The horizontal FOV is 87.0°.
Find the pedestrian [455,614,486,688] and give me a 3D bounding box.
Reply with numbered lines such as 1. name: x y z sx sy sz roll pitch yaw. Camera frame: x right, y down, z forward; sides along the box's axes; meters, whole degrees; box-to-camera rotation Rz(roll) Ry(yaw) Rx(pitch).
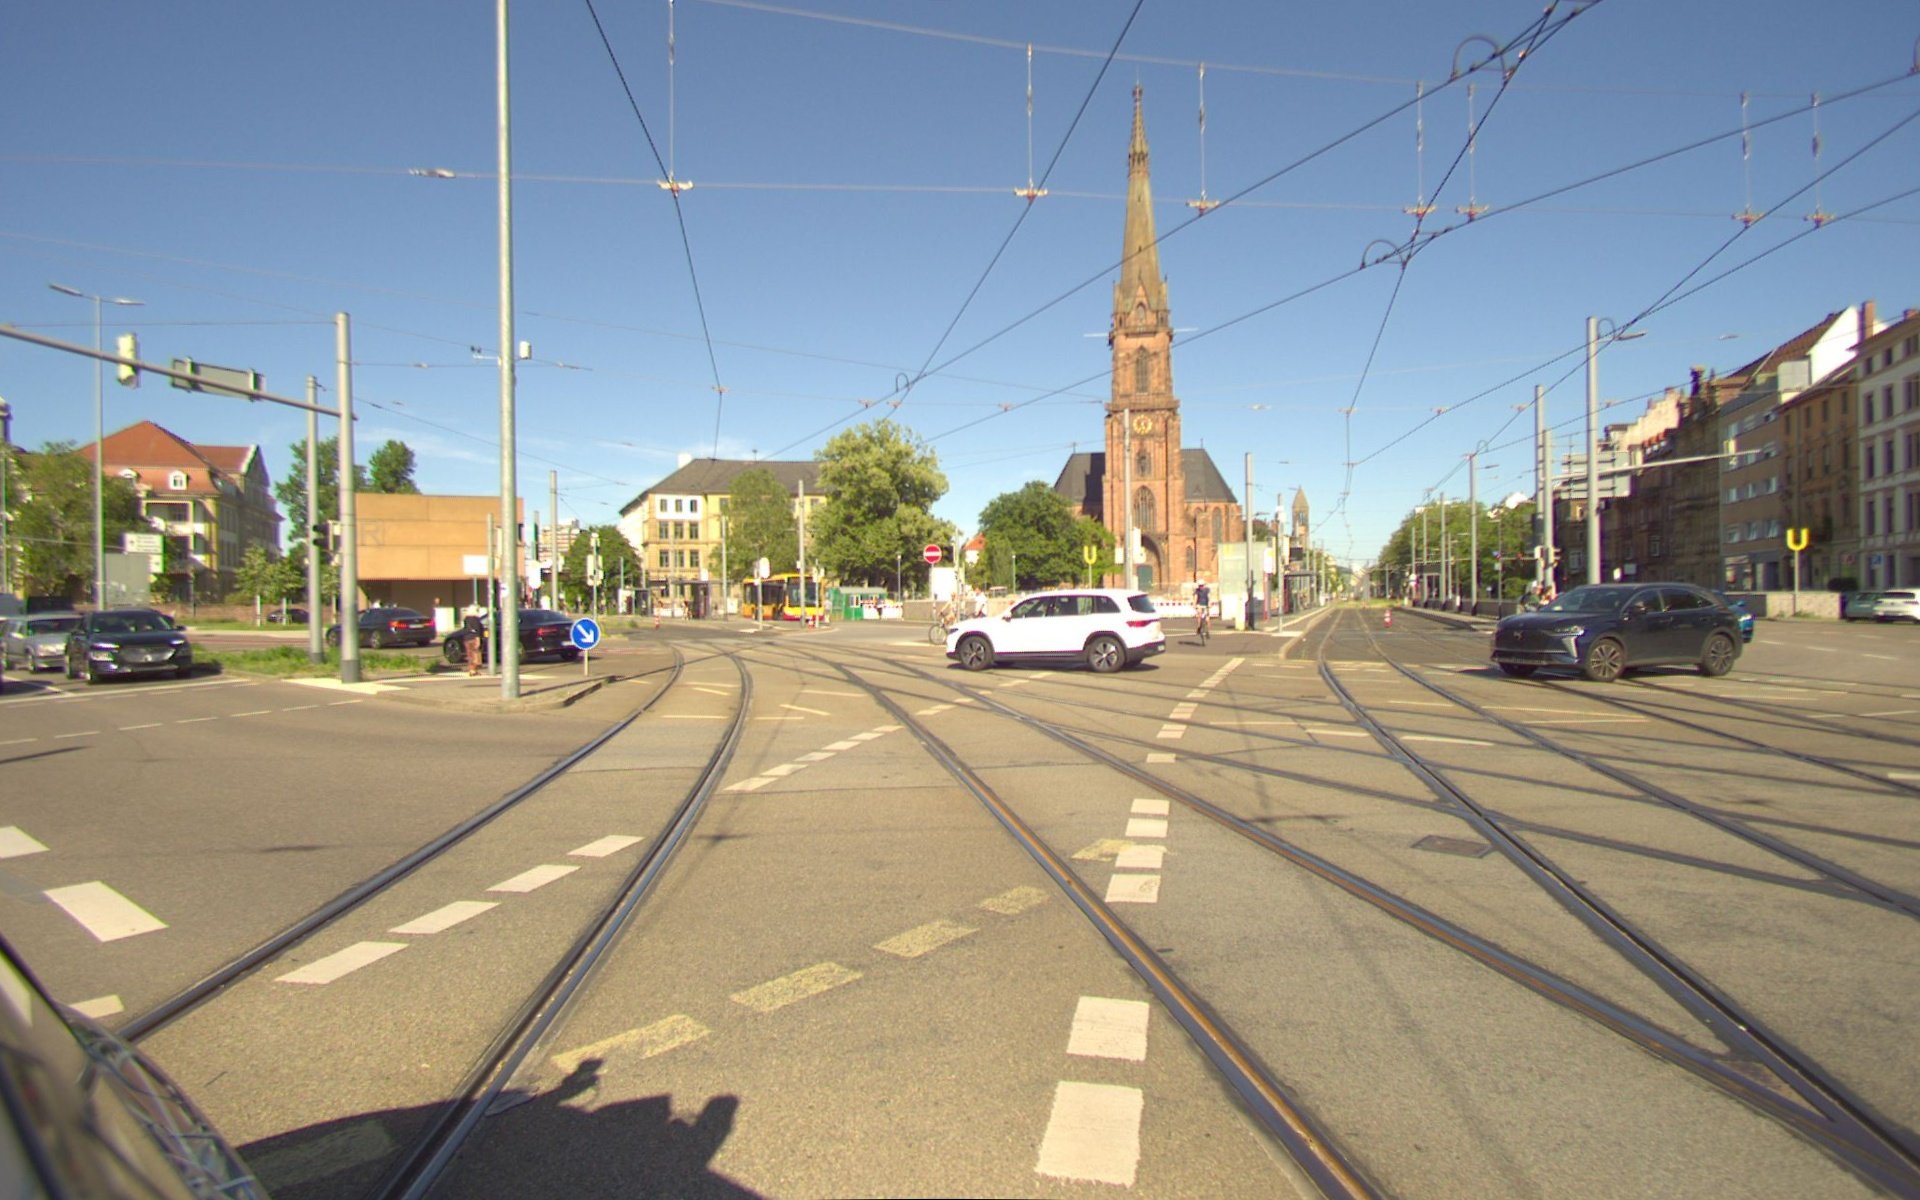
1. pedestrian: -10.686 1.102 22.090 0.367 1.567 0.645 -3 1 -43

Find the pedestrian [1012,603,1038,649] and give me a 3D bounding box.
1. pedestrian: 2.402 0.949 37.311 0.607 1.619 0.705 -1 1 40

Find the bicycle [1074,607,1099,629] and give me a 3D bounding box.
1. bicycle: 7.640 1.095 61.139 1.476 1.279 0.366 -2 1 -20

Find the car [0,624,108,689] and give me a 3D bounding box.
1. car: -24.067 1.410 26.375 4.653 1.469 1.803 -1 1 37

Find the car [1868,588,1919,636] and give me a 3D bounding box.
1. car: 39.231 0.447 40.925 3.932 1.765 2.006 -2 1 -18

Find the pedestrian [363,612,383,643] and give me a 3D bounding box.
1. pedestrian: -32.859 1.534 56.634 0.738 1.725 0.703 -2 1 -10

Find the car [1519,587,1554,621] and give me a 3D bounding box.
1. car: 56.466 0.367 99.172 1.984 3.130 4.893 -2 1 18

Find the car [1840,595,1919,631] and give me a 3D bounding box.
1. car: 40.913 0.539 44.309 3.932 1.370 1.823 -2 1 -18

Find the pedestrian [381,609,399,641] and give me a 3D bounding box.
1. pedestrian: -31.754 1.373 56.397 0.634 1.725 0.703 -2 1 -10

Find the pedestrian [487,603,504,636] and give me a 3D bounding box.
1. pedestrian: -30.092 1.266 65.615 0.844 2.091 0.612 -2 1 -16

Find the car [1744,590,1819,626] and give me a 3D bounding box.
1. car: 42.519 0.390 52.480 1.987 1.678 3.969 -2 1 23

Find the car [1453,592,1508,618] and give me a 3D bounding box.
1. car: 29.573 0.272 57.574 1.896 1.371 3.981 -2 0 15

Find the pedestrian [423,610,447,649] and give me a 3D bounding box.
1. pedestrian: -25.796 1.457 49.731 0.844 1.842 0.704 -2 1 -16

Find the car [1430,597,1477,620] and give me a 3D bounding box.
1. car: 31.709 0.549 65.096 1.896 1.371 3.981 -2 0 15

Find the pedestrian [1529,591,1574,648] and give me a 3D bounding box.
1. pedestrian: 19.350 0.625 33.103 0.978 1.813 0.995 -3 1 -42

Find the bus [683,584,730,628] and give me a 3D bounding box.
1. bus: -18.972 0.495 75.479 2.104 3.069 8.586 -2 0 -22

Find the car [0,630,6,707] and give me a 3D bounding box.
1. car: -20.356 1.368 19.846 4.008 1.469 1.863 -1 1 39

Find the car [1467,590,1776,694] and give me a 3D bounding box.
1. car: 11.497 0.661 17.658 4.551 1.589 2.051 -1 0 -17

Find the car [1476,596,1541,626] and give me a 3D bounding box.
1. car: 27.031 0.507 49.997 1.896 1.371 3.981 -2 0 15

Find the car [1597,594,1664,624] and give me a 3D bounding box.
1. car: 31.559 0.403 47.749 1.786 1.338 4.564 -1 0 23

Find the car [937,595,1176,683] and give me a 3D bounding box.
1. car: 1.994 0.777 20.953 4.537 1.653 1.987 -1 -1 24

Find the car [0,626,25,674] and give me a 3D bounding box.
1. car: -31.710 1.610 32.369 4.653 1.469 1.803 -1 1 37

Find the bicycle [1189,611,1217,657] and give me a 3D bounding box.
1. bicycle: 7.031 0.972 29.251 0.611 1.266 1.952 -1 -1 18

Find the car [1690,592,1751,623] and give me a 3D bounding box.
1. car: 45.407 0.446 60.543 1.987 1.678 3.969 -2 1 23

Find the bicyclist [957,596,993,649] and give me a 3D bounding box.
1. bicyclist: 0.468 0.685 31.221 0.595 1.561 0.983 -1 0 38

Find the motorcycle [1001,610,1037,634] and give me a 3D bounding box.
1. motorcycle: 3.431 1.264 58.994 2.070 1.263 0.536 -3 1 -25

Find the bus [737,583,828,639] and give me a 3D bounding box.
1. bus: -11.919 0.556 66.757 2.801 3.144 11.860 -2 2 -25

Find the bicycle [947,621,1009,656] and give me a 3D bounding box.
1. bicycle: 0.580 1.183 31.351 0.615 0.997 2.446 -1 -1 37

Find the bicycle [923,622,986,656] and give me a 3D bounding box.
1. bicycle: -0.146 1.220 31.955 0.615 0.997 2.446 -1 -1 37

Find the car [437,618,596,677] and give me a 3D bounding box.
1. car: -11.999 1.245 27.291 4.469 1.427 1.830 -2 0 34

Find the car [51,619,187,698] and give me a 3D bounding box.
1. car: -18.835 1.237 22.605 3.912 1.543 1.665 -1 1 41

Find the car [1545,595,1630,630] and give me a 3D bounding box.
1. car: 25.692 0.473 41.610 1.781 1.338 4.575 -1 0 17

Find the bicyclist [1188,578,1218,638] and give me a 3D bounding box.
1. bicyclist: 7.048 0.235 29.358 0.754 1.688 0.790 -1 -1 18

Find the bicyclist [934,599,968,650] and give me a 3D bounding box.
1. bicyclist: -0.287 0.757 31.804 0.576 1.540 0.945 -1 1 37

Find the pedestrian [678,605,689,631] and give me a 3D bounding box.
1. pedestrian: -20.506 1.329 75.028 0.679 1.875 0.732 -2 1 -20

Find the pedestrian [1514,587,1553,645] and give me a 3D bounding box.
1. pedestrian: 19.805 0.539 34.948 0.993 1.917 0.981 -1 1 40

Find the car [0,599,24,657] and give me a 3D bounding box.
1. car: -47.473 1.406 48.588 5.284 2.701 2.222 -1 1 30

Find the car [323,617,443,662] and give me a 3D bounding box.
1. car: -20.815 1.393 36.442 4.632 1.469 1.866 -1 0 34
